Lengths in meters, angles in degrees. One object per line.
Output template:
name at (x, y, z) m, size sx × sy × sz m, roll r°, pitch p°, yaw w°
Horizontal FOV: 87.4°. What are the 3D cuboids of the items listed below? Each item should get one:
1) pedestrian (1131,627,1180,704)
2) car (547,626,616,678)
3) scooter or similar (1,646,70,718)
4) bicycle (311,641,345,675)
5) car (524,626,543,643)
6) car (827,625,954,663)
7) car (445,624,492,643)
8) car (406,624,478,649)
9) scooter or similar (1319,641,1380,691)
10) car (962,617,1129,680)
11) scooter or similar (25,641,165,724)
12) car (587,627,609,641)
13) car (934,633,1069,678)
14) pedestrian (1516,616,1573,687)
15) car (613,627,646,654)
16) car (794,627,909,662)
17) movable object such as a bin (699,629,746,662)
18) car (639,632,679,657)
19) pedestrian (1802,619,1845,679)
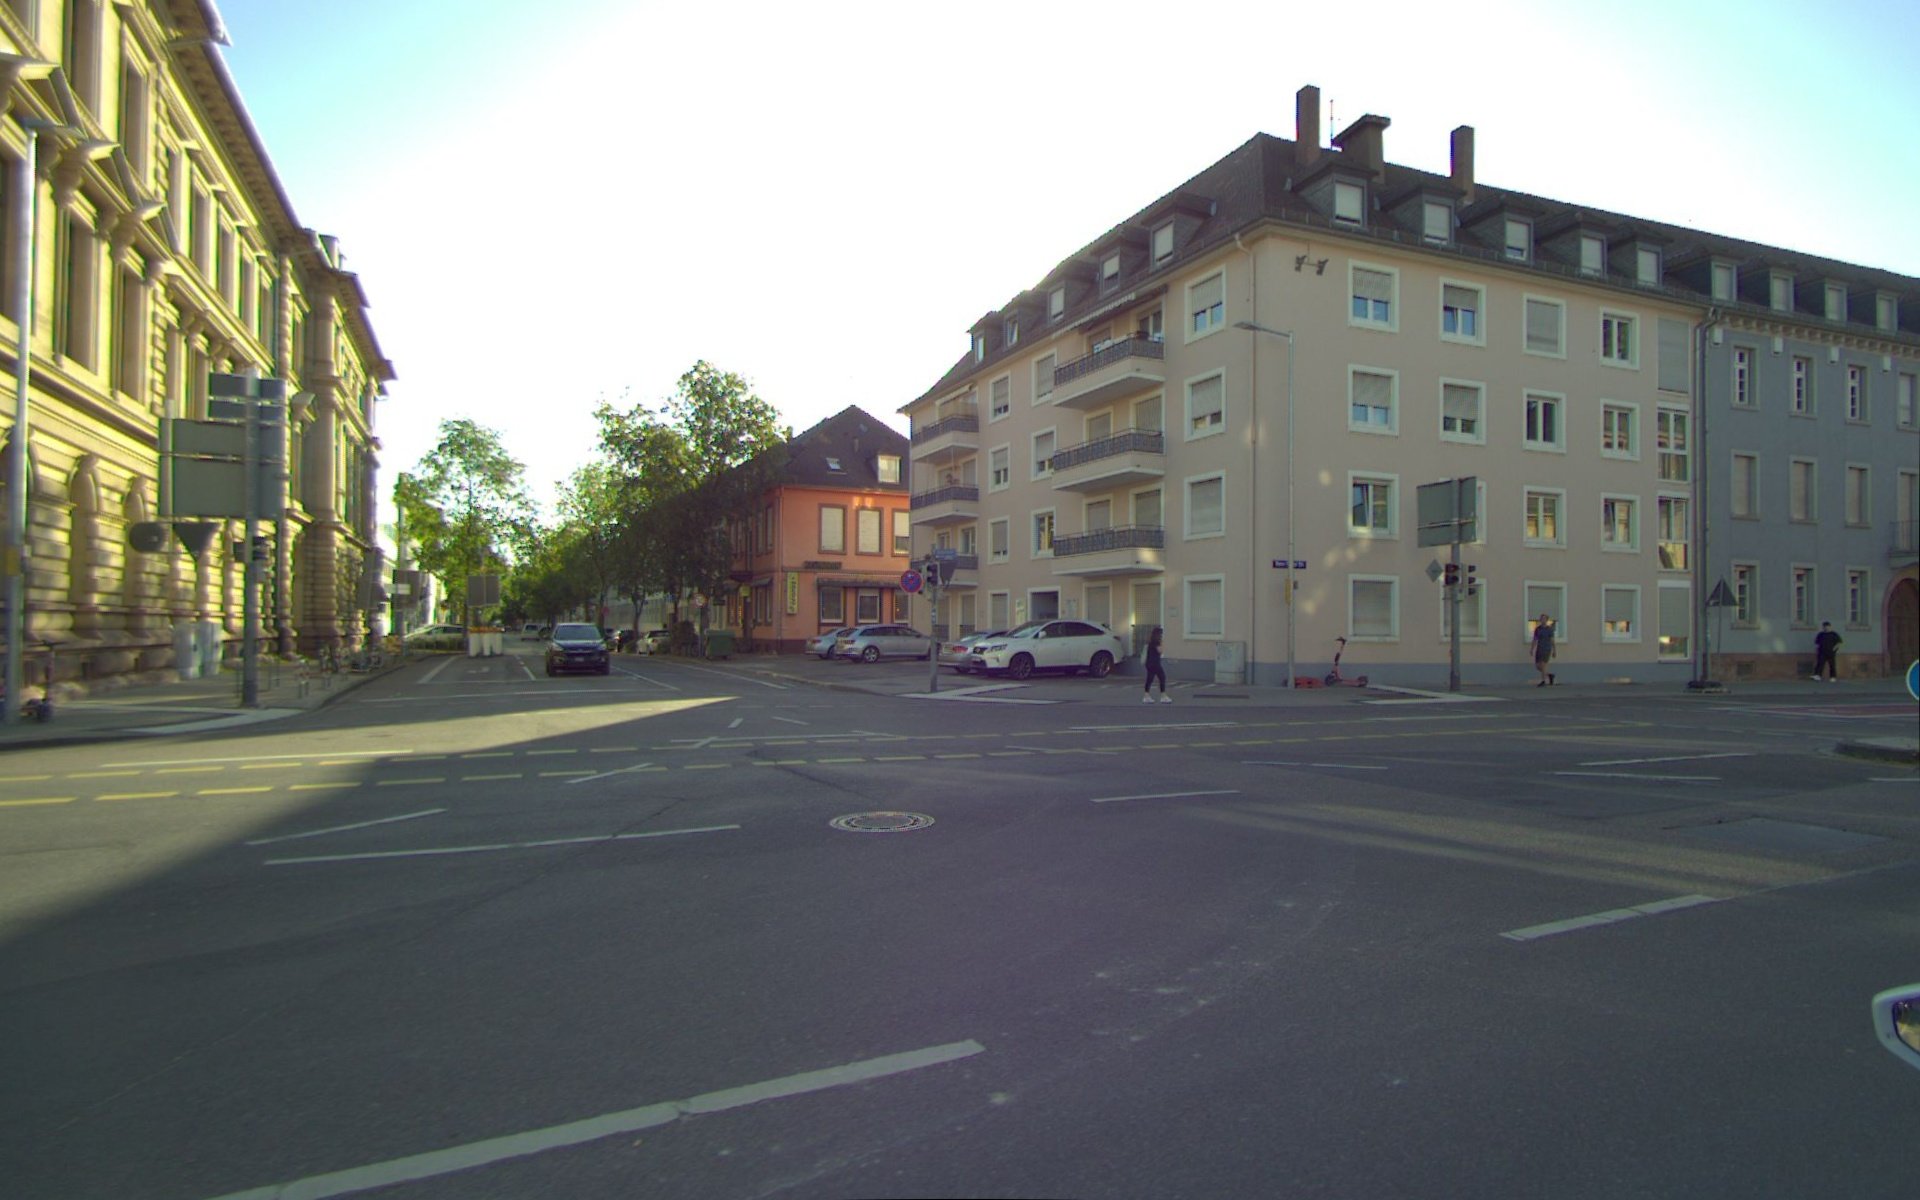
pedestrian at (4.216, 1.391, 21.670) m, size 0.806 × 1.605 × 0.630 m, roll 1°, pitch 1°, yaw -22°
car at (-12.554, 1.659, 33.184) m, size 1.971 × 1.592 × 4.663 m, roll 1°, pitch -2°, yaw -23°
scooter or similar at (-14.455, 1.258, 15.728) m, size 0.388 × 1.066 × 1.323 m, roll 1°, pitch -2°, yaw -25°
bicycle at (-19.106, 1.728, 30.372) m, size 0.567 × 0.979 × 1.820 m, roll 1°, pitch -2°, yaw -23°
car at (-45.414, 3.650, 106.923) m, size 1.730 × 1.750 × 3.822 m, roll 1°, pitch -2°, yaw -25°
car at (-2.786, 1.755, 40.252) m, size 4.722 × 1.451 × 1.988 m, roll 1°, pitch -2°, yaw -26°
car at (-46.342, 3.165, 94.695) m, size 3.952 × 1.635 × 1.724 m, roll 1°, pitch -5°, yaw -29°
car at (-34.942, 2.504, 67.845) m, size 4.203 × 1.557 × 1.818 m, roll 1°, pitch -5°, yaw -27°
scooter or similar at (9.783, 1.640, 25.219) m, size 1.452 × 1.201 × 0.532 m, roll 1°, pitch 0°, yaw -21°
car at (2.509, 1.376, 29.356) m, size 4.555 × 1.708 × 1.986 m, roll 1°, pitch -2°, yaw -27°
scooter or similar at (-13.605, 1.263, 15.876) m, size 0.447 × 1.204 × 2.034 m, roll 0°, pitch -2°, yaw 0°
car at (-37.077, 3.488, 102.841) m, size 1.680 × 1.469 × 3.974 m, roll 1°, pitch -2°, yaw -26°
car at (1.304, 1.705, 31.369) m, size 3.948 × 1.327 × 1.600 m, roll 1°, pitch -2°, yaw -27°
pedestrian at (15.911, 1.383, 27.357) m, size 0.999 × 1.888 × 0.866 m, roll 0°, pitch 1°, yaw -21°
car at (-22.558, 2.738, 68.550) m, size 1.697 × 1.780 × 3.823 m, roll 1°, pitch -2°, yaw -25°
car at (-4.791, 1.947, 44.588) m, size 4.722 × 1.451 × 1.988 m, roll 1°, pitch -2°, yaw -26°
movable object such as a bin at (-10.944, 2.102, 46.322) m, size 1.866 × 1.474 × 1.104 m, roll 1°, pitch -2°, yaw -28°
car at (-18.132, 2.638, 60.421) m, size 1.680 × 1.469 × 3.974 m, roll 1°, pitch -2°, yaw -26°
pedestrian at (27.750, 1.577, 32.282) m, size 0.998 × 1.871 × 0.630 m, roll 1°, pitch 1°, yaw -22°
